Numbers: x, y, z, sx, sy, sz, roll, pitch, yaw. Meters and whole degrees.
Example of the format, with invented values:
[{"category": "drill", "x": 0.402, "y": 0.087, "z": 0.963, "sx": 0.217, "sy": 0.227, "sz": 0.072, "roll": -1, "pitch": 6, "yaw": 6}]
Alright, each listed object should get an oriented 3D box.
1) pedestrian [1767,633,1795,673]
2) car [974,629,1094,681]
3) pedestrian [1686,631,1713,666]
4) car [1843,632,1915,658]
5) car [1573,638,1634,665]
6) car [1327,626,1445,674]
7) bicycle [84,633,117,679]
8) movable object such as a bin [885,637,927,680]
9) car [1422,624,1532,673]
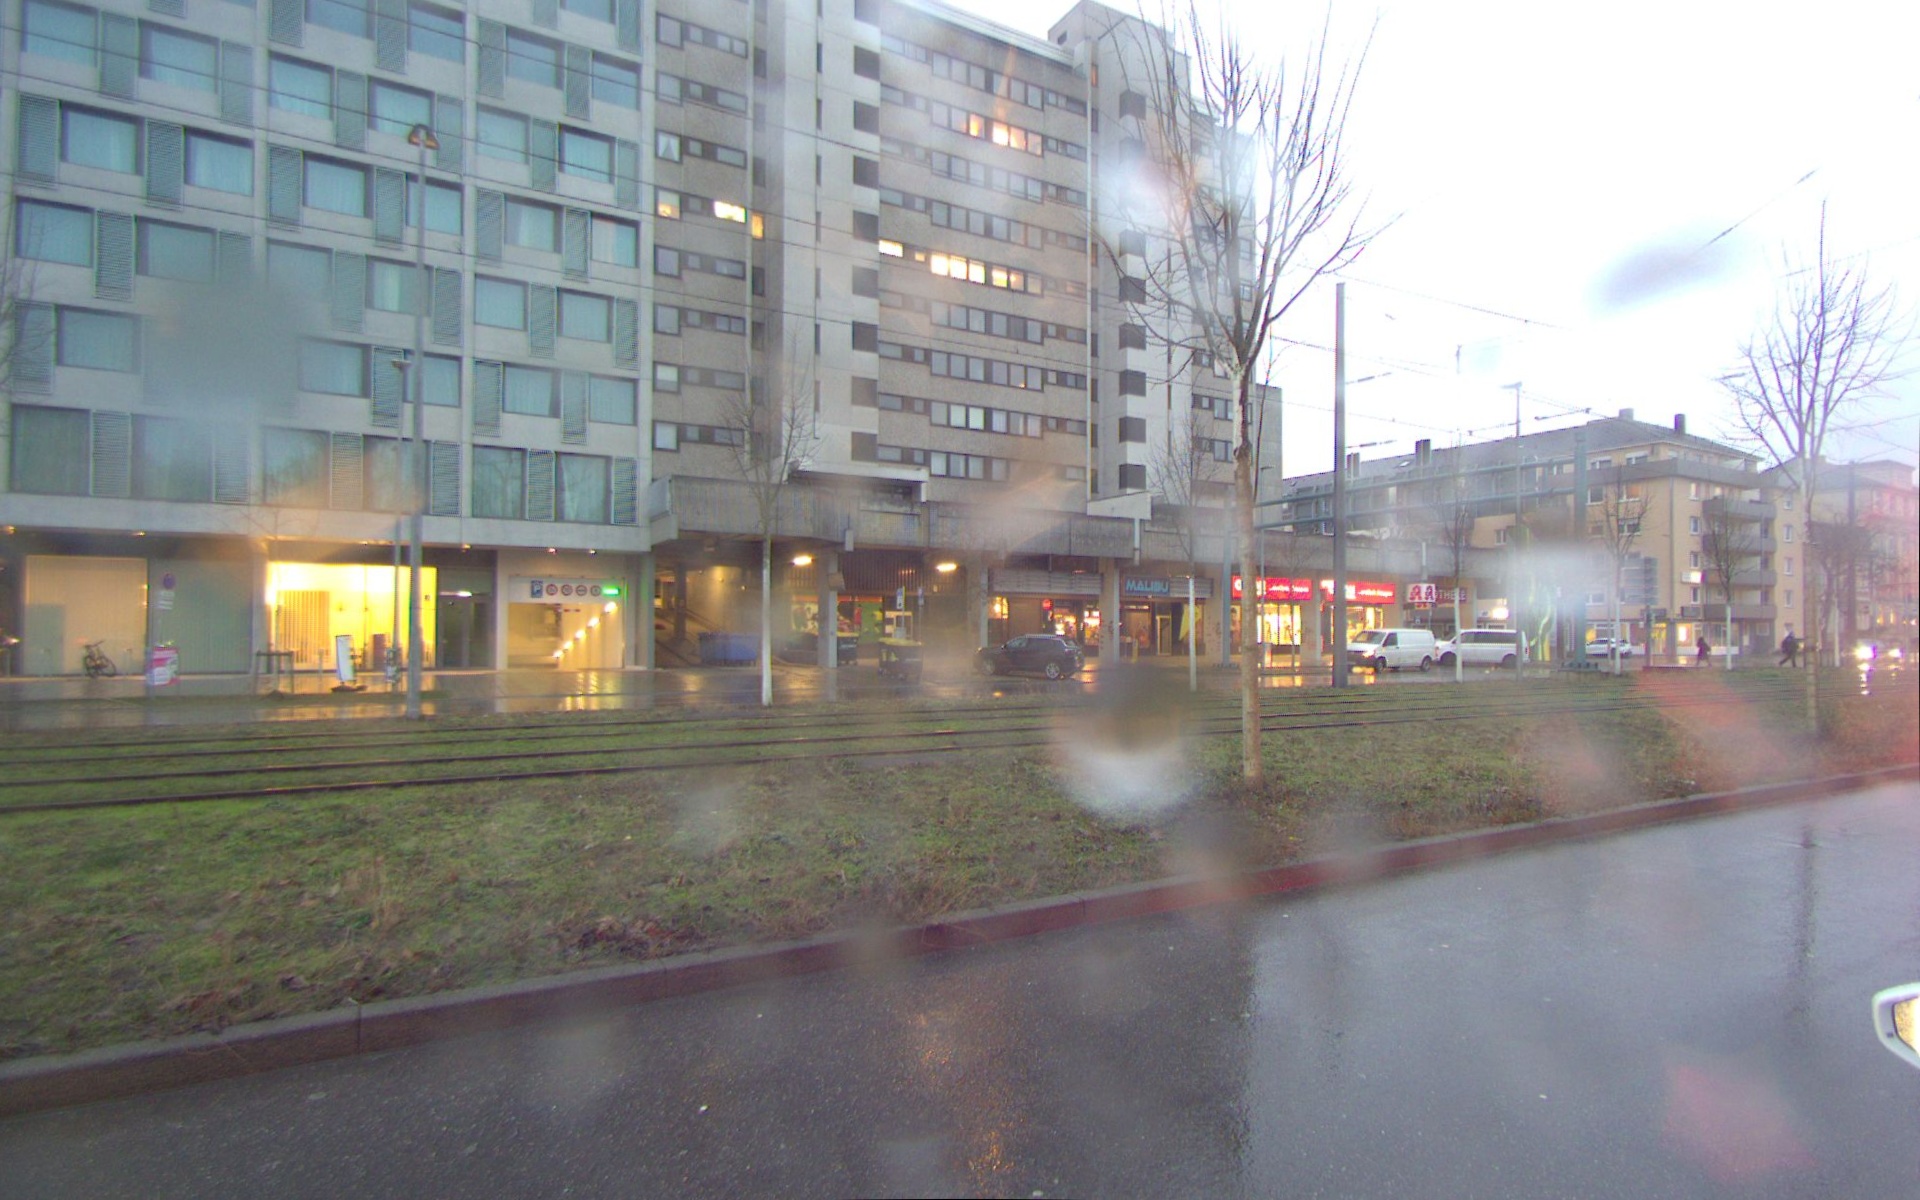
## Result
[{"category": "pedestrian", "x": 43.144, "y": 2.763, "z": 52.780, "sx": 0.999, "sy": 2.040, "sz": 0.951, "roll": 1, "pitch": -2, "yaw": -38}, {"category": "car", "x": 2.825, "y": 2.066, "z": 38.342, "sx": 4.066, "sy": 1.715, "sz": 1.982, "roll": 2, "pitch": 0, "yaw": 28}, {"category": "pedestrian", "x": 43.174, "y": 2.832, "z": 58.664, "sx": 1.253, "sy": 2.040, "sz": 1.004, "roll": -1, "pitch": -2, "yaw": 36}, {"category": "car", "x": 52.089, "y": 2.562, "z": 56.941, "sx": 4.265, "sy": 1.350, "sz": 1.850, "roll": 2, "pitch": 0, "yaw": -31}, {"category": "car", "x": 51.293, "y": 4.082, "z": 80.112, "sx": 1.826, "sy": 1.968, "sz": 3.720, "roll": 2, "pitch": 0, "yaw": -37}, {"category": "car", "x": 20.051, "y": 2.352, "z": 47.221, "sx": 5.491, "sy": 2.073, "sz": 1.987, "roll": 2, "pitch": 0, "yaw": -26}, {"category": "bicycle", "x": -25.112, "y": 1.616, "z": 29.370, "sx": 0.460, "sy": 1.255, "sz": 1.527, "roll": 2, "pitch": 0, "yaw": -31}, {"category": "movable object such as a bin", "x": -1.890, "y": 2.024, "z": 35.020, "sx": 1.023, "sy": 1.445, "sz": 1.061, "roll": 2, "pitch": 0, "yaw": -41}, {"category": "car", "x": 27.145, "y": 2.518, "z": 52.917, "sx": 4.734, "sy": 2.274, "sz": 2.001, "roll": 2, "pitch": 0, "yaw": 15}]
